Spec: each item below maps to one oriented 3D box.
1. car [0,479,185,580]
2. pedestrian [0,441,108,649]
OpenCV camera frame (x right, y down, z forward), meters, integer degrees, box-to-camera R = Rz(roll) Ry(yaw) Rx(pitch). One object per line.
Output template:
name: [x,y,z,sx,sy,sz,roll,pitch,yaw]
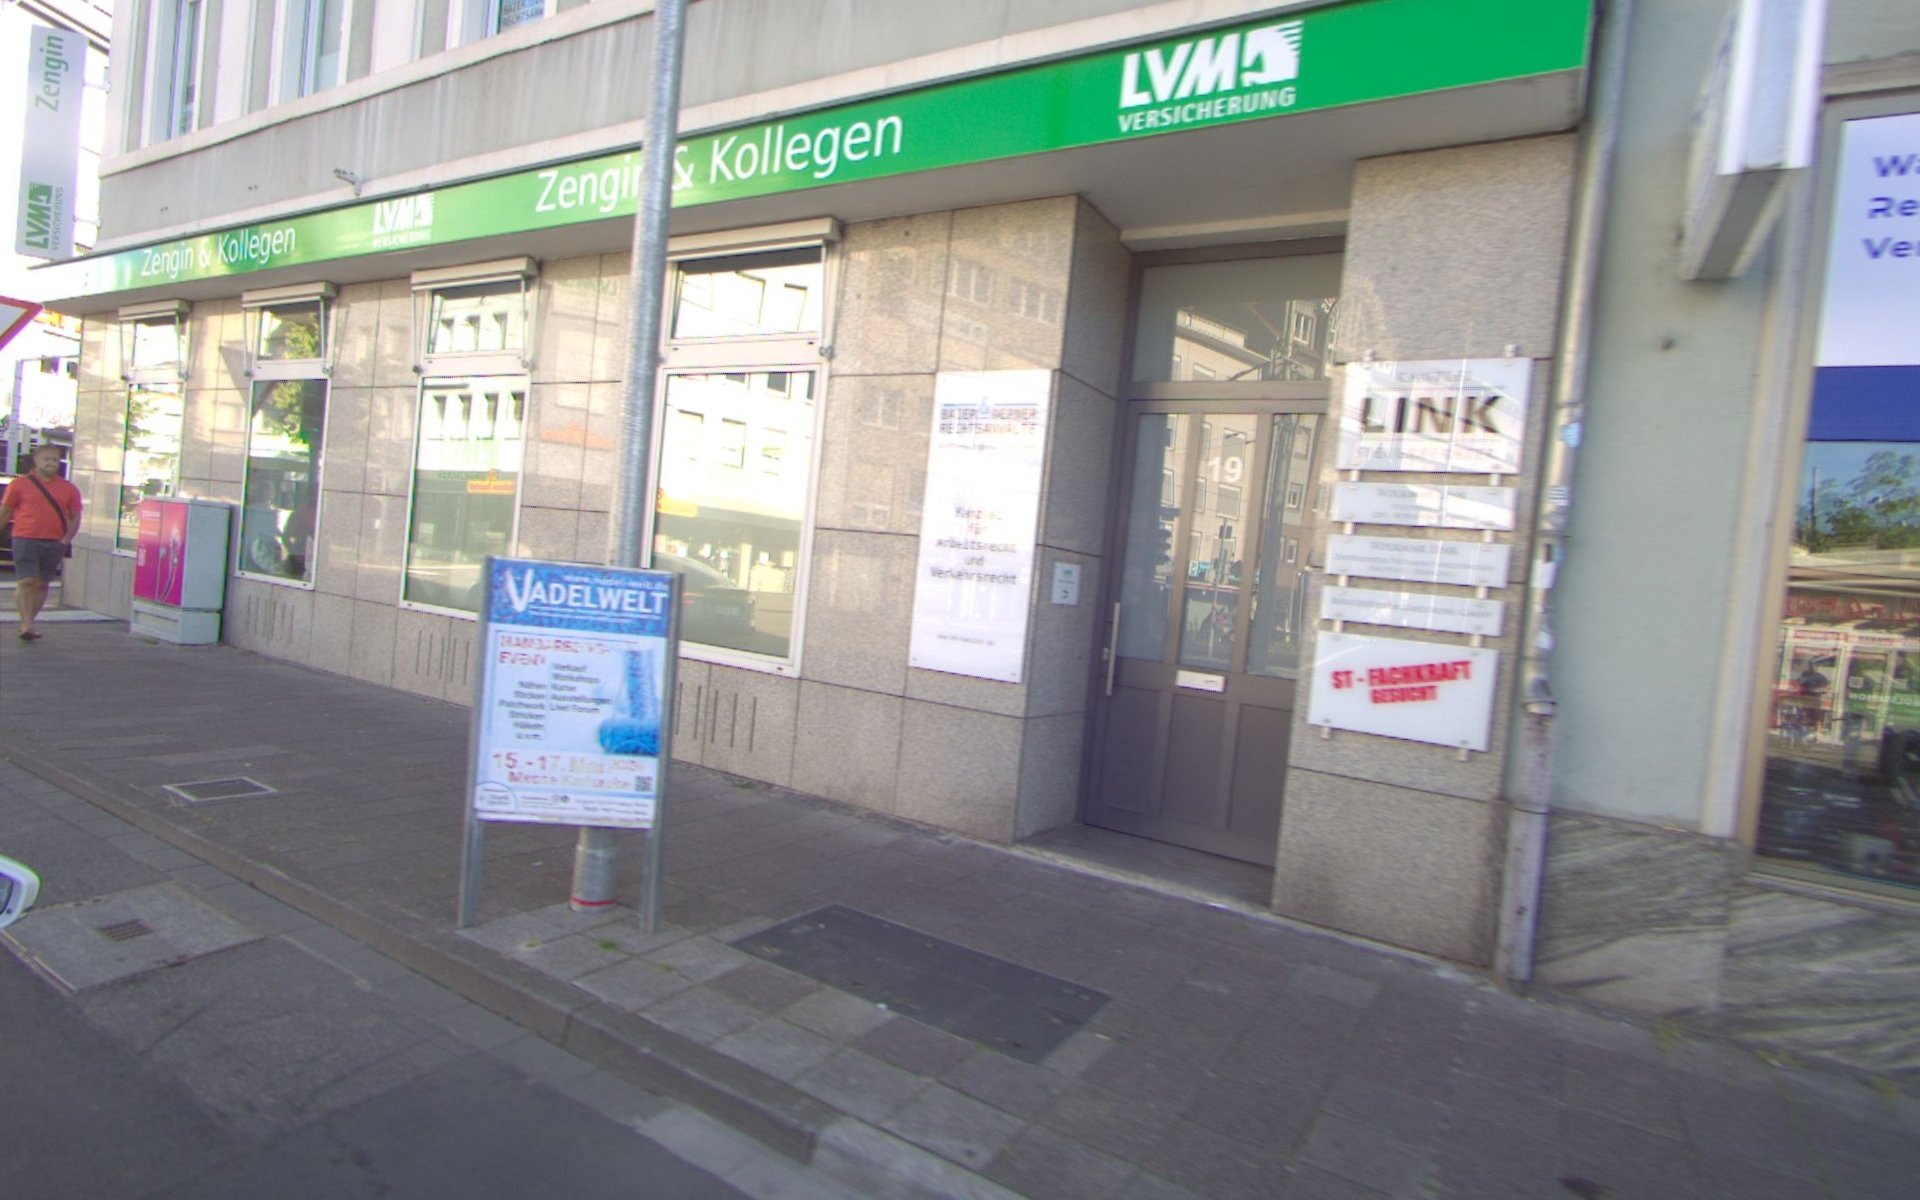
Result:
car: [-15.198,-1.158,16.822,1.738,1.436,4.344,6,0,-12]
pedestrian: [-8.178,-0.482,8.896,0.897,1.726,0.690,7,3,32]
